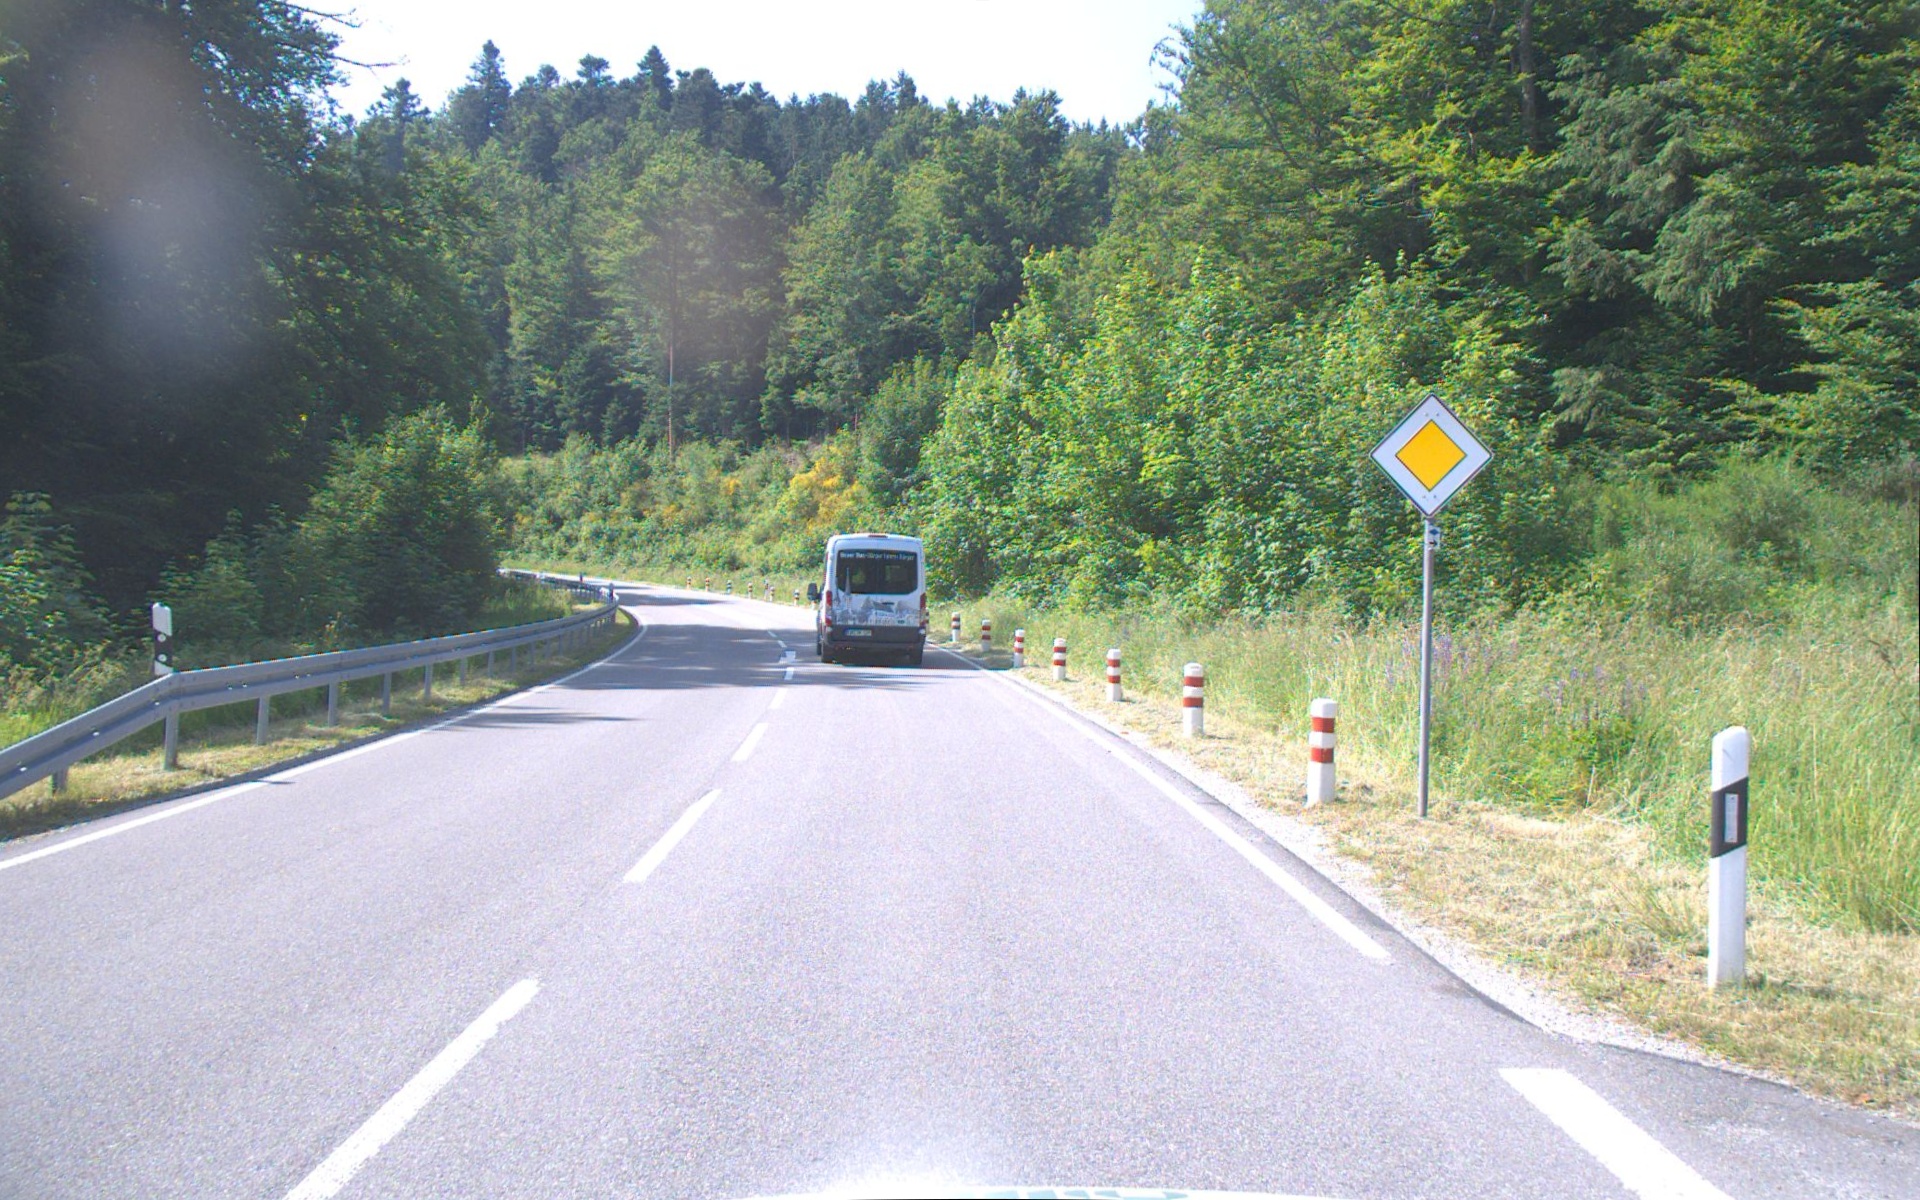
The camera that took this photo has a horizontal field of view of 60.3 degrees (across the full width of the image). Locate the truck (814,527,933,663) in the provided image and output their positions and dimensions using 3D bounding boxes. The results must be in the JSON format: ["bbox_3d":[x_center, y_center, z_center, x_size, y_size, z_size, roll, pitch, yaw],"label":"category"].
[{"bbox_3d":[-1.853,-0.130,33.662,2.075,2.542,5.352,0,1,-7],"label":"truck"}]
